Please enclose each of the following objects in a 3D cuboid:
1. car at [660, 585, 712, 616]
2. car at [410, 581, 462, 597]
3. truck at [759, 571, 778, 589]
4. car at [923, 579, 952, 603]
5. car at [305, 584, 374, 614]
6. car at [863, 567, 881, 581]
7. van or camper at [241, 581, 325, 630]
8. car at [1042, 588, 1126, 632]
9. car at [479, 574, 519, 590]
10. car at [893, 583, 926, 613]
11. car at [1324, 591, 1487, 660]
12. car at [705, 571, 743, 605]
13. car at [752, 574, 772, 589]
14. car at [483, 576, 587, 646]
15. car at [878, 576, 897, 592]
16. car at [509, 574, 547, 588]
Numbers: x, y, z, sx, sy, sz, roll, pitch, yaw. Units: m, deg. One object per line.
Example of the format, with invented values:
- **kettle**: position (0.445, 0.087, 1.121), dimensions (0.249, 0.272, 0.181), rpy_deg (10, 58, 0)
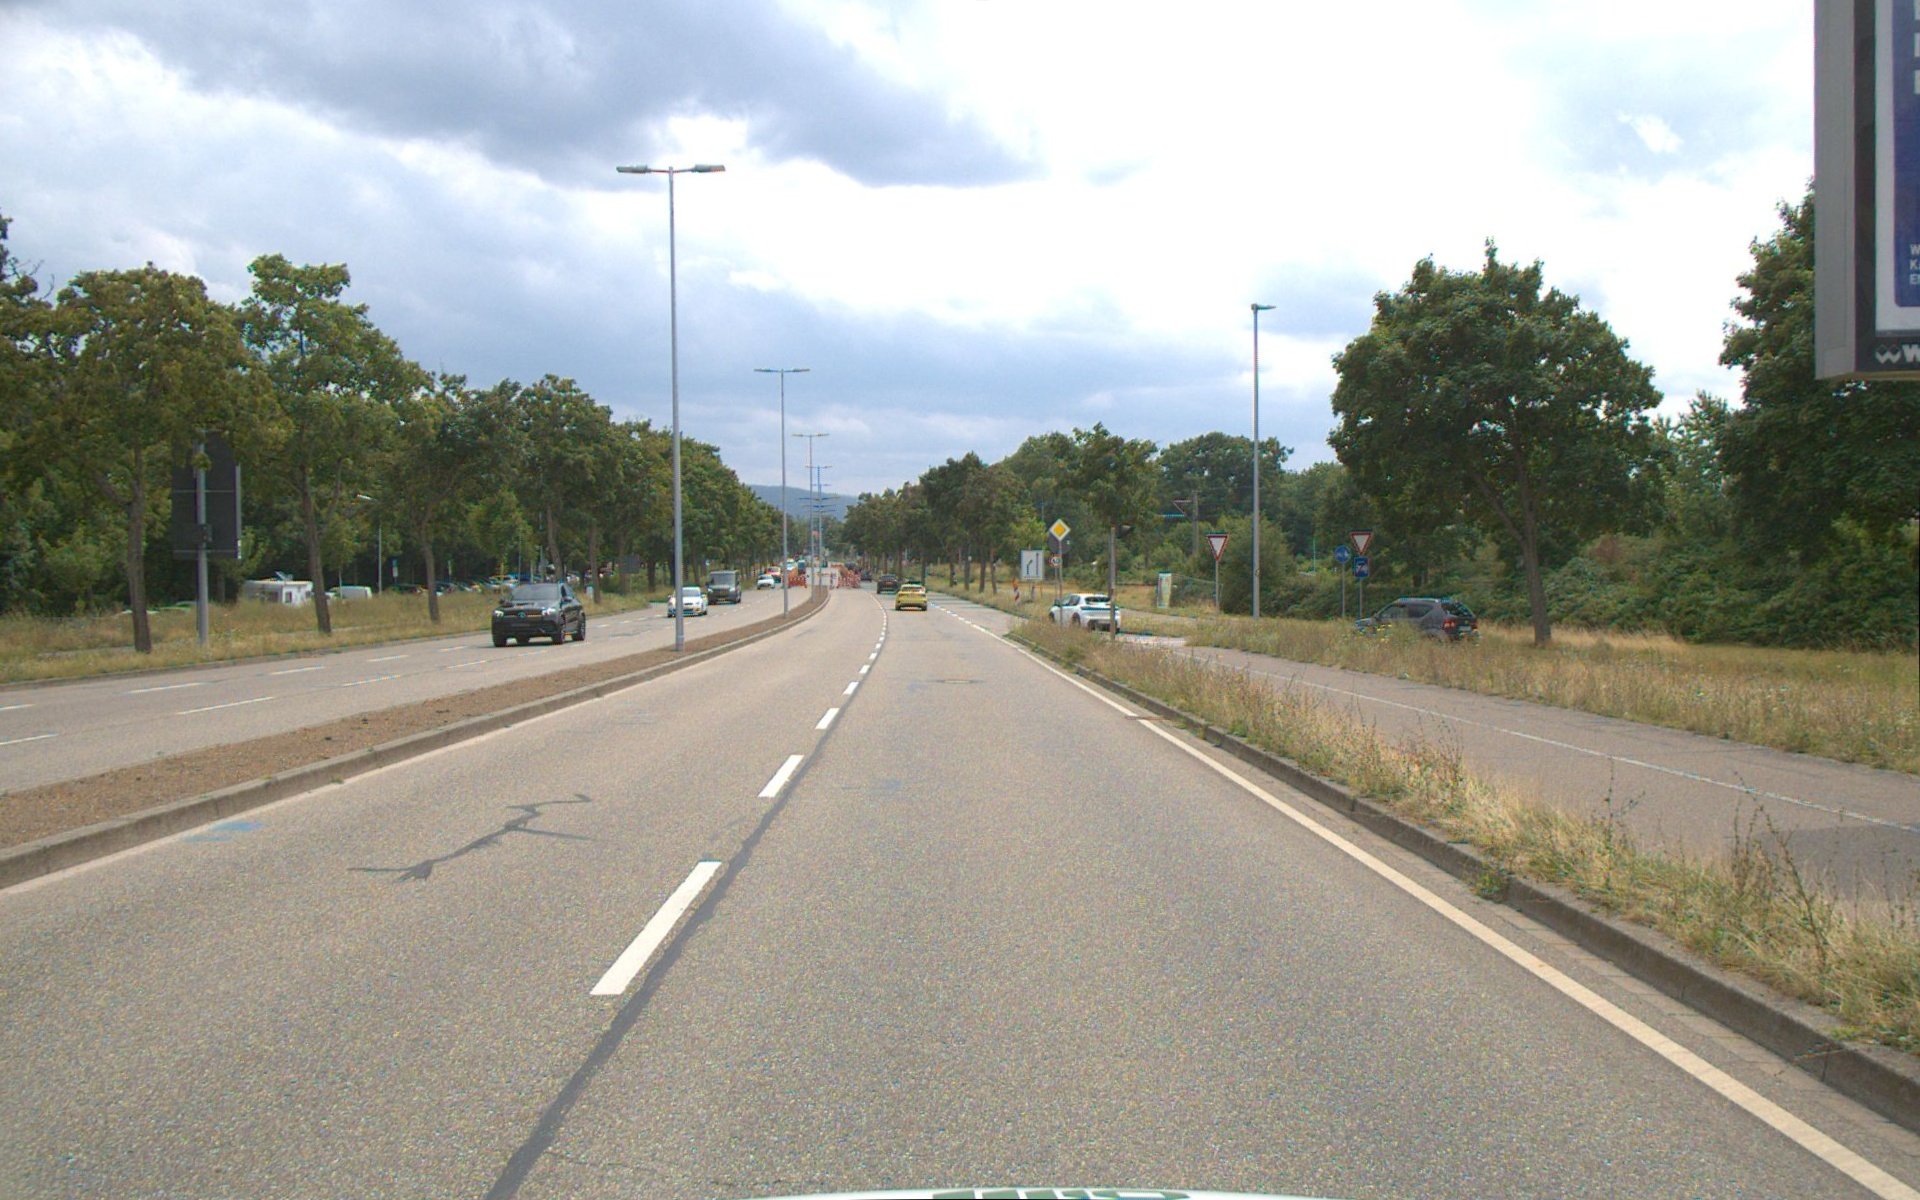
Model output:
- **car**: position (-14.022, 0.004, 84.783), dimensions (1.953, 1.455, 4.687), rpy_deg (-1, 1, -1)
- **car**: position (-44.765, -0.931, 141.362), dimensions (3.908, 1.281, 1.563), rpy_deg (0, 2, -4)
- **truck**: position (-24.229, -2.564, 209.640), dimensions (2.047, 2.029, 6.036), rpy_deg (-2, 2, -3)
- **car**: position (-1.694, -0.662, 123.390), dimensions (1.973, 1.699, 3.998), rpy_deg (0, 2, -3)
- **car**: position (-41.196, -0.064, 109.887), dimensions (3.908, 1.920, 1.938), rpy_deg (0, 1, -4)
- **car**: position (-11.521, -3.416, 216.603), dimensions (2.162, 1.713, 3.999), rpy_deg (0, 2, -2)
- **van or camper**: position (-39.285, 0.281, 96.194), dimensions (2.422, 2.585, 6.717), rpy_deg (0, 2, -3)
- **car**: position (4.620, 0.337, 62.198), dimensions (1.740, 1.489, 3.978), rpy_deg (-1, 2, -19)
- **car**: position (-47.242, -1.874, 169.371), dimensions (3.576, 1.545, 1.882), rpy_deg (0, 2, -2)
- **car**: position (-2.886, -0.127, 93.680), dimensions (1.757, 1.589, 3.998), rpy_deg (0, 2, -3)
- **car**: position (12.039, 0.647, 44.820), dimensions (3.927, 1.697, 1.700), rpy_deg (2, 2, 41)
- **car**: position (-16.206, -0.873, 113.797), dimensions (2.054, 2.239, 6.001), rpy_deg (-2, 1, -3)
- **car**: position (-20.503, -1.924, 171.081), dimensions (1.682, 1.444, 4.158), rpy_deg (-2, 2, -3)
- **car**: position (-12.353, 0.273, 48.396), dimensions (1.954, 1.843, 4.796), rpy_deg (-1, 2, -3)
- **car**: position (-6.258, -1.417, 142.664), dimensions (1.634, 1.292, 3.998), rpy_deg (0, 2, -3)
- **car**: position (-48.580, -2.129, 186.062), dimensions (3.697, 1.450, 1.965), rpy_deg (0, 2, -2)
